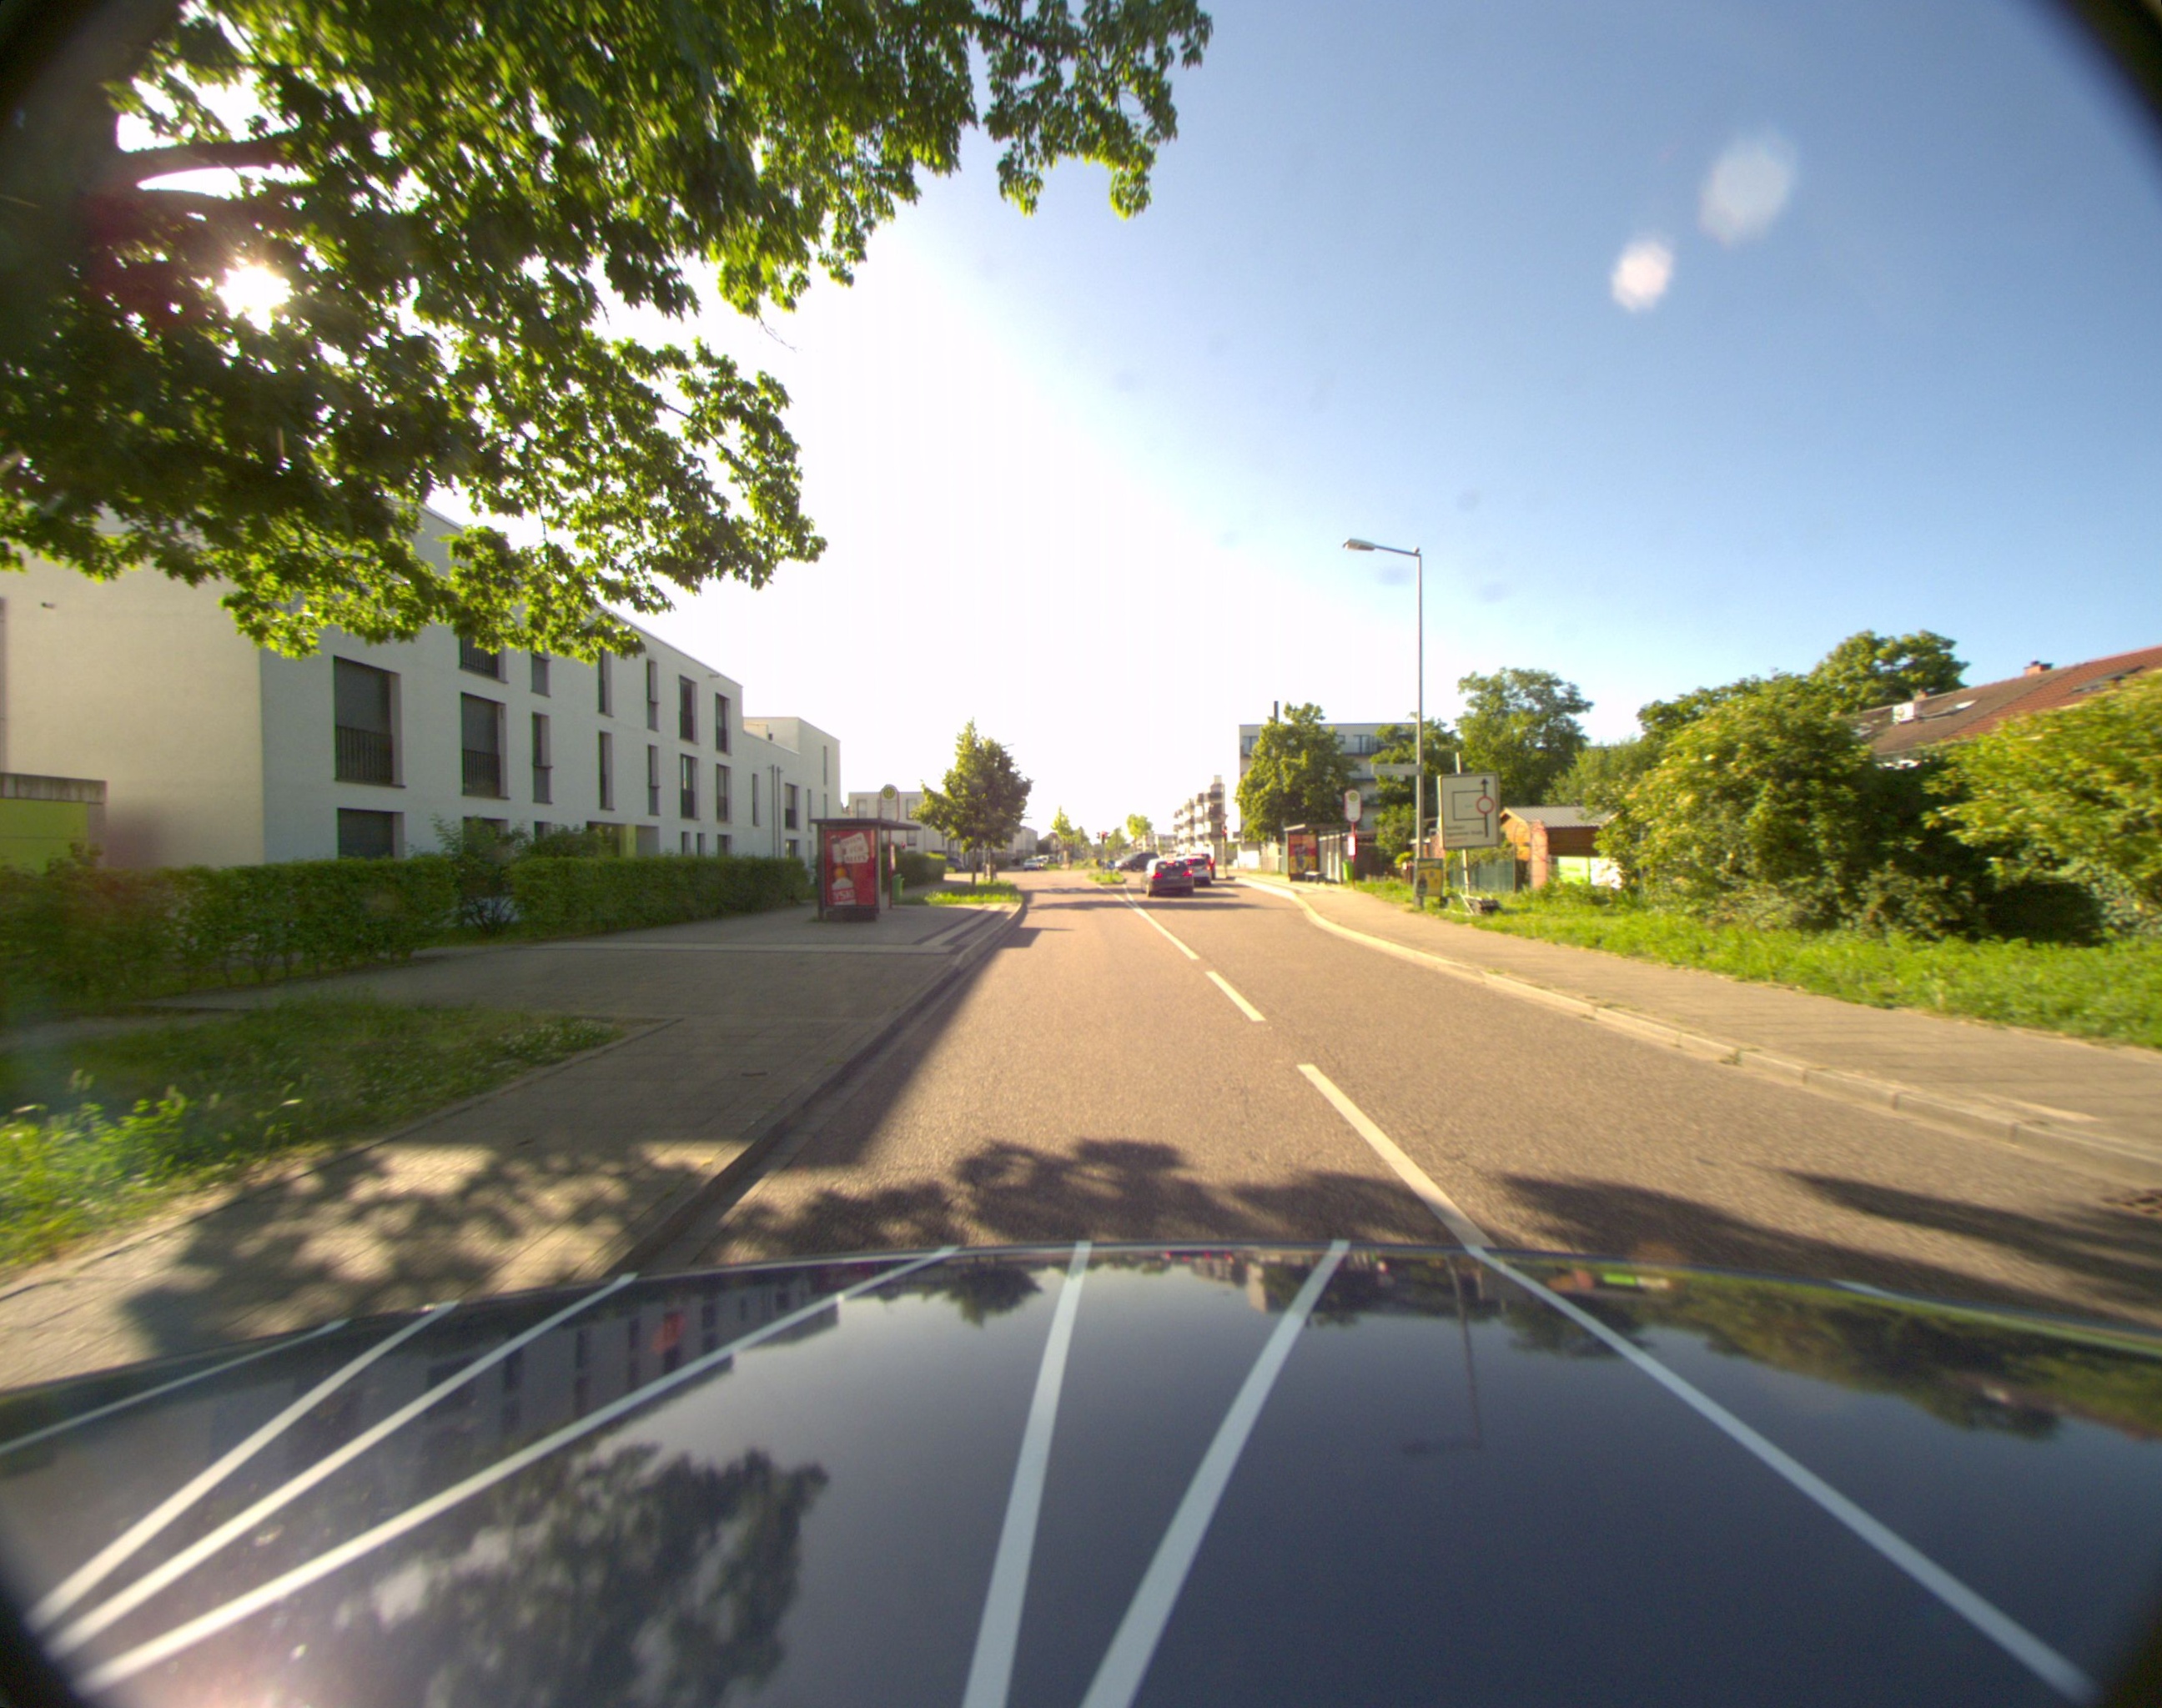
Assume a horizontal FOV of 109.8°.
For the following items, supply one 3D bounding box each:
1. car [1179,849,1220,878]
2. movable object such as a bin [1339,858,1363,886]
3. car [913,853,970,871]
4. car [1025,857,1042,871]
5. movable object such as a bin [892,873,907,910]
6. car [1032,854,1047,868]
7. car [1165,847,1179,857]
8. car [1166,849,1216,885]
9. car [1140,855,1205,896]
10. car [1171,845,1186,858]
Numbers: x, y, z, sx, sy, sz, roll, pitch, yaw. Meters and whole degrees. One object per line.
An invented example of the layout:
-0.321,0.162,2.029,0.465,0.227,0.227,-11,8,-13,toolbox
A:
6.852,0.505,44.330,1.944,1.579,4.181,-1,0,4,car
9.821,0.652,27.647,0.594,0.962,0.558,-5,0,4,movable object such as a bin
-13.684,0.771,74.612,5.195,1.727,2.000,-1,0,1,car
-6.267,1.293,100.577,2.008,1.655,3.999,-1,0,-1,car
-5.211,1.071,21.794,0.370,1.010,0.599,-1,0,-10,movable object such as a bin
-5.867,0.989,108.534,1.999,2.002,3.999,-1,0,-1,car
16.306,-0.331,136.268,1.998,1.544,3.999,-1,2,2,car
5.315,0.589,37.207,2.214,1.582,4.535,-1,1,6,car
3.604,0.820,30.666,1.999,1.435,4.450,-2,0,0,car
15.373,-0.430,120.211,1.998,2.003,3.999,0,2,3,car
